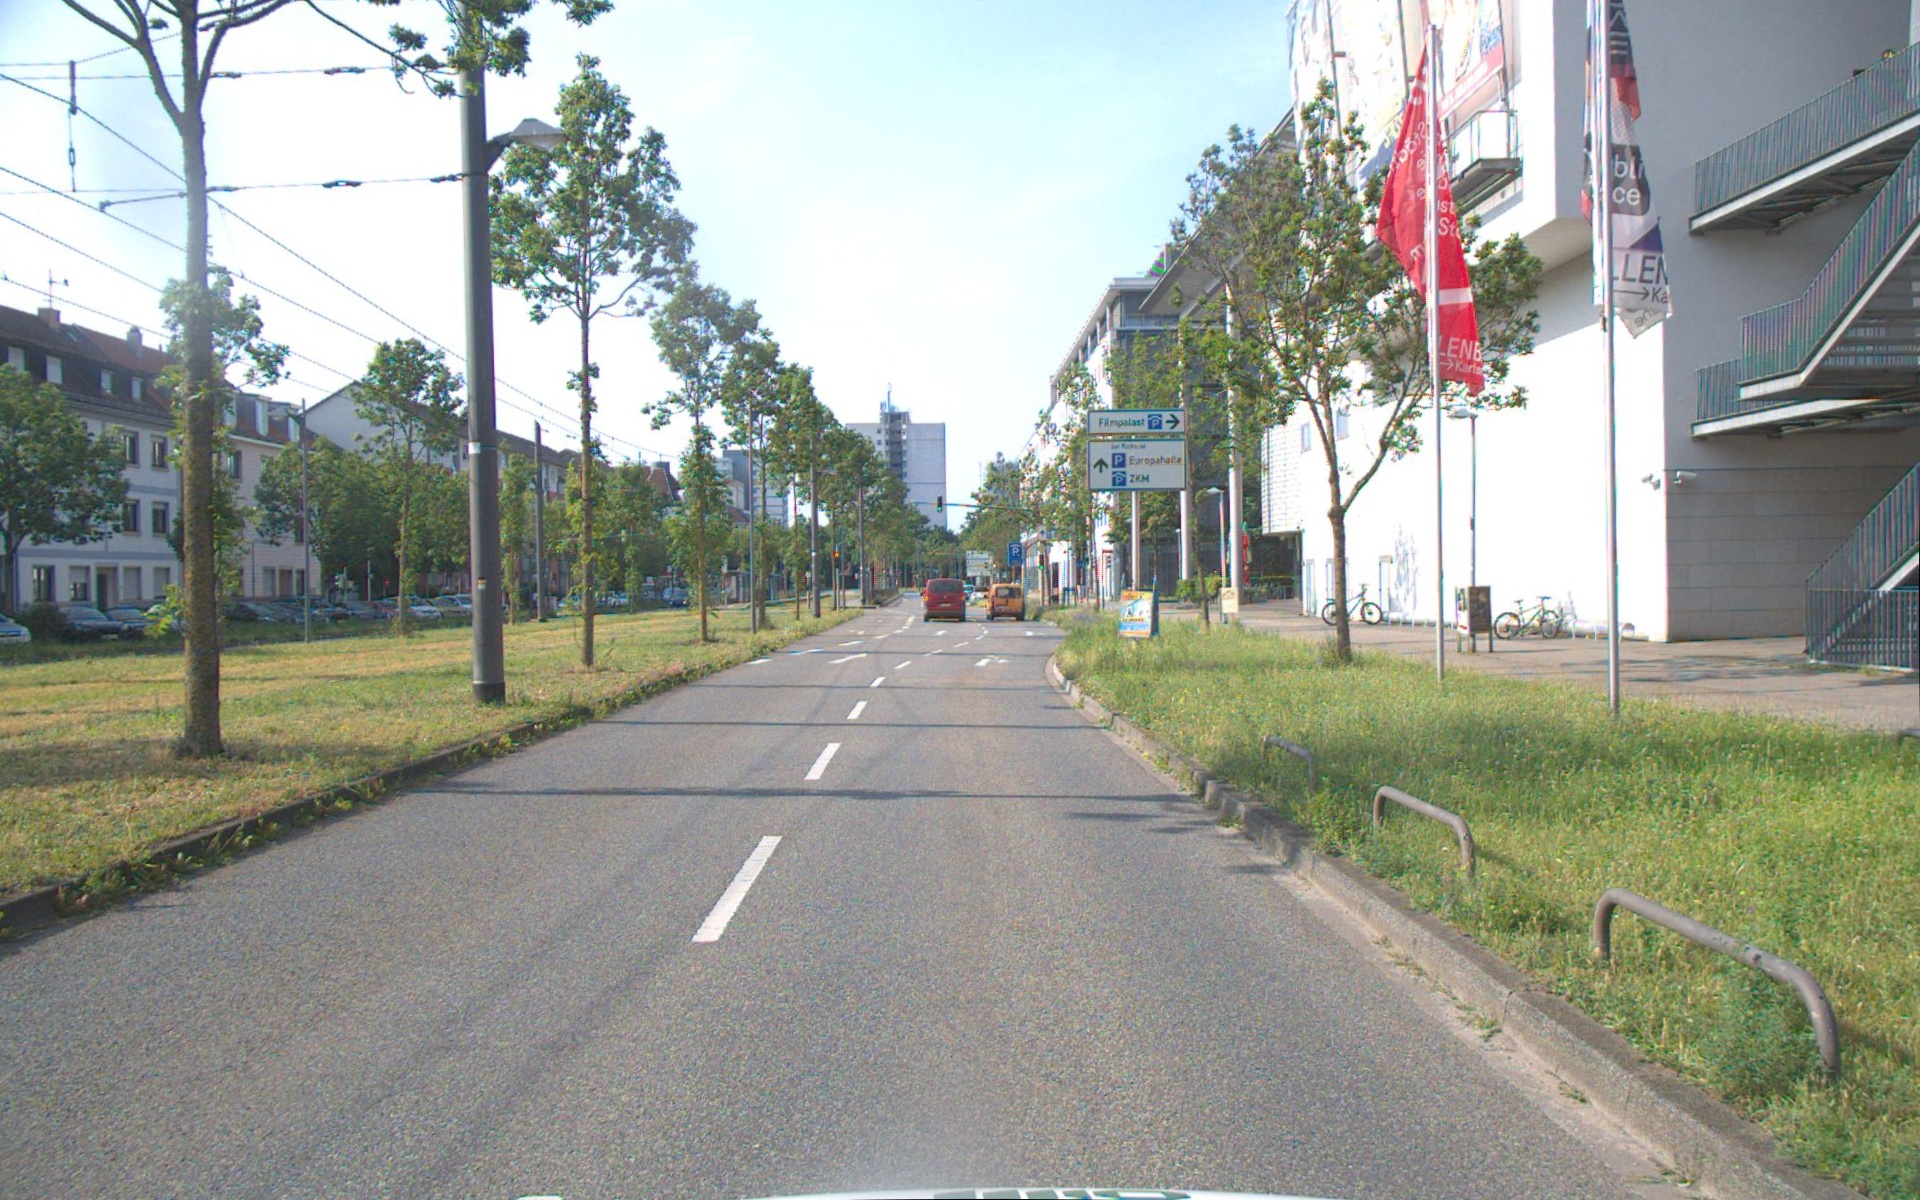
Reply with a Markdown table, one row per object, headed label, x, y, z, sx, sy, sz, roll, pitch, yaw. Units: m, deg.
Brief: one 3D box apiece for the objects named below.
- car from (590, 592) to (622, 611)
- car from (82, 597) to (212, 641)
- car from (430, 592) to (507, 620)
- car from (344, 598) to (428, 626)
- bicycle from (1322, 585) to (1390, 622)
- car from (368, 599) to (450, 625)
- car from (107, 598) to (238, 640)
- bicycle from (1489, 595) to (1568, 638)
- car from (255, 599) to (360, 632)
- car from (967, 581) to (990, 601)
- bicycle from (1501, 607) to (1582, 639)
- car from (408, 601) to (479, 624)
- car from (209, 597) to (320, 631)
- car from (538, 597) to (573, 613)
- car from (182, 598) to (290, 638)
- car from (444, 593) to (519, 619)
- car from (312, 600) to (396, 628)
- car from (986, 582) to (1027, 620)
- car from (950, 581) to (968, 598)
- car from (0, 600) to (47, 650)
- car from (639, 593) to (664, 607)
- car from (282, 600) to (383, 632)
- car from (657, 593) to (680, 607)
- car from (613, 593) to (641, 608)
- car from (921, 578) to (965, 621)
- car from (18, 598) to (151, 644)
| label | x | y | z | sx | sy | sz | roll | pitch | yaw |
| --- | --- | --- | --- | --- | --- | --- | --- | --- | --- |
| car | -31.430 | 0.117 | 146.953 | 1.941 | 1.583 | 4.535 | 1 | 0 | -2 |
| car | -27.260 | 0.624 | 55.427 | 3.909 | 1.400 | 1.925 | 1 | 0 | 26 |
| car | -28.129 | 0.335 | 94.655 | 4.374 | 1.541 | 1.993 | -1 | 1 | 36 |
| car | -28.421 | 0.588 | 81.856 | 3.915 | 1.280 | 1.871 | 1 | 0 | 32 |
| bicycle | 12.465 | 0.111 | 52.111 | 1.966 | 1.122 | 0.676 | -1 | 0 | 3 |
| car | -28.303 | 0.600 | 84.957 | 3.911 | 1.292 | 1.884 | 1 | 0 | 29 |
| car | -28.197 | 0.660 | 59.239 | 4.240 | 1.400 | 1.999 | 1 | 0 | 25 |
| bicycle | 12.914 | 0.375 | 37.586 | 1.623 | 0.931 | 0.482 | -1 | 0 | -1 |
| car | -27.542 | 0.632 | 69.844 | 3.907 | 1.310 | 1.999 | 1 | 0 | 25 |
| car | 1.448 | -0.745 | 131.090 | 1.686 | 1.545 | 3.780 | -1 | 1 | -2 |
| bicycle | 12.949 | 0.517 | 36.856 | 1.623 | 0.656 | 0.538 | -1 | 0 | -1 |
| car | -28.797 | 0.670 | 92.183 | 3.926 | 1.199 | 1.990 | 1 | 0 | 40 |
| car | -28.035 | 0.565 | 66.700 | 3.907 | 1.310 | 1.999 | -1 | 1 | 25 |
| car | -31.430 | 0.384 | 128.524 | 1.796 | 1.168 | 4.163 | 1 | 0 | -2 |
| car | -26.937 | 0.658 | 61.527 | 3.693 | 1.400 | 1.663 | 1 | 0 | 25 |
| car | -28.465 | 0.347 | 98.283 | 4.261 | 1.489 | 1.958 | 1 | 0 | 32 |
| car | -28.625 | 0.667 | 78.112 | 3.915 | 1.256 | 1.695 | 1 | 0 | 32 |
| car | 2.197 | 0.039 | 79.029 | 1.837 | 1.726 | 3.973 | -1 | 0 | -1 |
| car | -0.104 | -0.981 | 157.400 | 1.655 | 1.552 | 3.850 | -3 | 0 | -1 |
| car | -27.525 | 0.661 | 46.129 | 4.306 | 1.343 | 1.730 | 1 | 0 | 32 |
| car | -32.207 | 0.008 | 172.521 | 1.941 | 1.384 | 4.068 | 1 | 0 | -2 |
| car | -27.444 | 0.676 | 72.332 | 3.967 | 1.310 | 1.998 | 1 | 0 | 26 |
| car | -32.301 | -0.035 | 183.260 | 1.941 | 1.540 | 4.279 | 1 | 0 | -2 |
| car | -31.544 | 0.077 | 156.843 | 1.941 | 1.384 | 4.068 | 1 | 0 | -2 |
| car | -0.771 | -0.037 | 74.164 | 1.837 | 1.886 | 3.998 | -1 | 0 | -2 |
| car | -28.162 | 0.643 | 53.193 | 3.909 | 1.400 | 1.834 | 1 | 0 | 26 |
